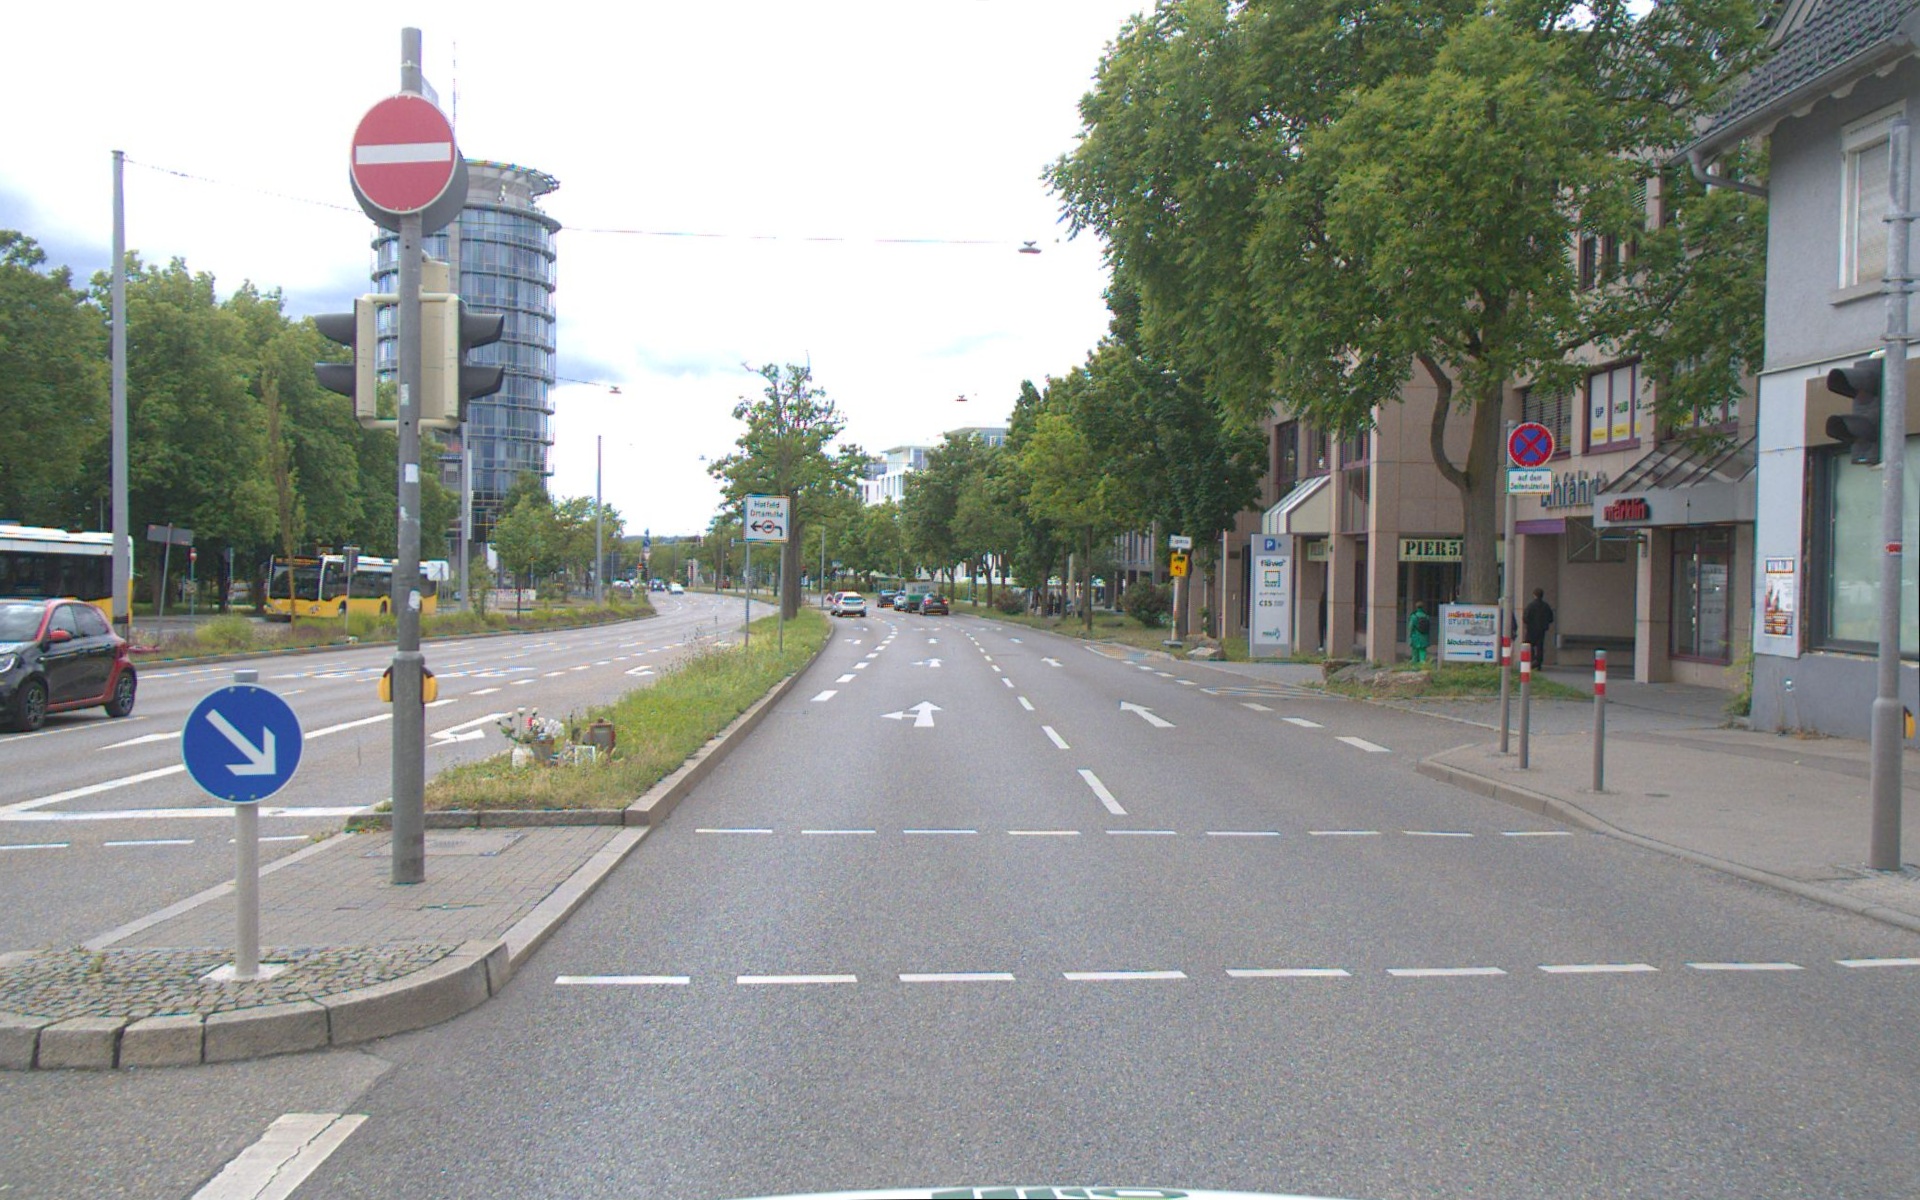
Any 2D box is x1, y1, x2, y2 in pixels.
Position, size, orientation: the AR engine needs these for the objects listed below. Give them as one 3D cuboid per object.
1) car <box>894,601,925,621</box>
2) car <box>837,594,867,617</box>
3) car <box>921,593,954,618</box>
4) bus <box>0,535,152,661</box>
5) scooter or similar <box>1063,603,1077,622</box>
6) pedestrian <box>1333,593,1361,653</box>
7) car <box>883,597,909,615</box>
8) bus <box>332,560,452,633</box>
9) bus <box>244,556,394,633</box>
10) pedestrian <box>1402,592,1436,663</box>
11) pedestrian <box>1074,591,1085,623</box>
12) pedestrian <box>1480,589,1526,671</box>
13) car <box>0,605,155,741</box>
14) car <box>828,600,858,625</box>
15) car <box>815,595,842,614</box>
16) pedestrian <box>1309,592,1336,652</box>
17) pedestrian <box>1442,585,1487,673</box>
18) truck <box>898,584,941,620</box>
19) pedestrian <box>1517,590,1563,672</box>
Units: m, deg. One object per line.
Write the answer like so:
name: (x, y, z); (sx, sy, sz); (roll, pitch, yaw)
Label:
car: (-3.948, 0.862, 128.041); (1.956, 1.534, 3.992); (0, 0, -8)
car: (-7.081, 0.380, 108.361); (1.827, 1.474, 3.995); (0, -1, -5)
car: (-1.523, 0.383, 111.566); (1.955, 1.624, 3.995); (0, 0, -5)
bus: (-25.568, -0.105, 44.234); (2.750, 3.187, 9.303); (2, 0, 3)
scooter or similar: (6.043, 0.676, 90.992); (0.573, 1.011, 0.845); (-1, 0, -9)
pedestrian: (11.371, 0.666, 48.608); (0.583, 1.735, 0.969); (0, 0, -1)
car: (-5.592, 0.525, 143.694); (1.956, 1.534, 3.993); (0, -1, -7)
bus: (-29.653, -0.173, 86.899); (2.970, 3.516, 9.908); (2, 0, -1)
bus: (-29.374, -0.216, 76.471); (3.022, 3.218, 10.732); (2, 0, -2)
pedestrian: (10.338, 0.608, 37.270); (0.549, 1.577, 0.544); (-1, -1, -1)
pedestrian: (6.665, 0.387, 92.063); (0.556, 1.729, 0.829); (0, -1, -1)
pedestrian: (11.660, 0.641, 35.549); (0.644, 1.720, 0.842); (-2, -1, -1)
car: (-11.557, 0.838, 20.431); (1.626, 1.534, 3.765); (0, -1, -5)
car: (-8.096, 0.858, 114.090); (1.955, 1.701, 3.995); (0, -1, -5)
car: (-10.823, 0.343, 136.428); (1.953, 1.534, 3.999); (0, 0, 0)
pedestrian: (10.663, 0.645, 48.643); (0.583, 1.735, 0.969); (0, 0, -1)
pedestrian: (10.857, 0.617, 35.632); (0.644, 1.858, 0.842); (-1, -1, -1)
truck: (-2.998, 0.190, 121.355); (2.804, 2.563, 6.280); (0, -1, -5)
pedestrian: (12.453, 0.665, 35.524); (0.644, 1.720, 0.842); (-2, -1, -1)
